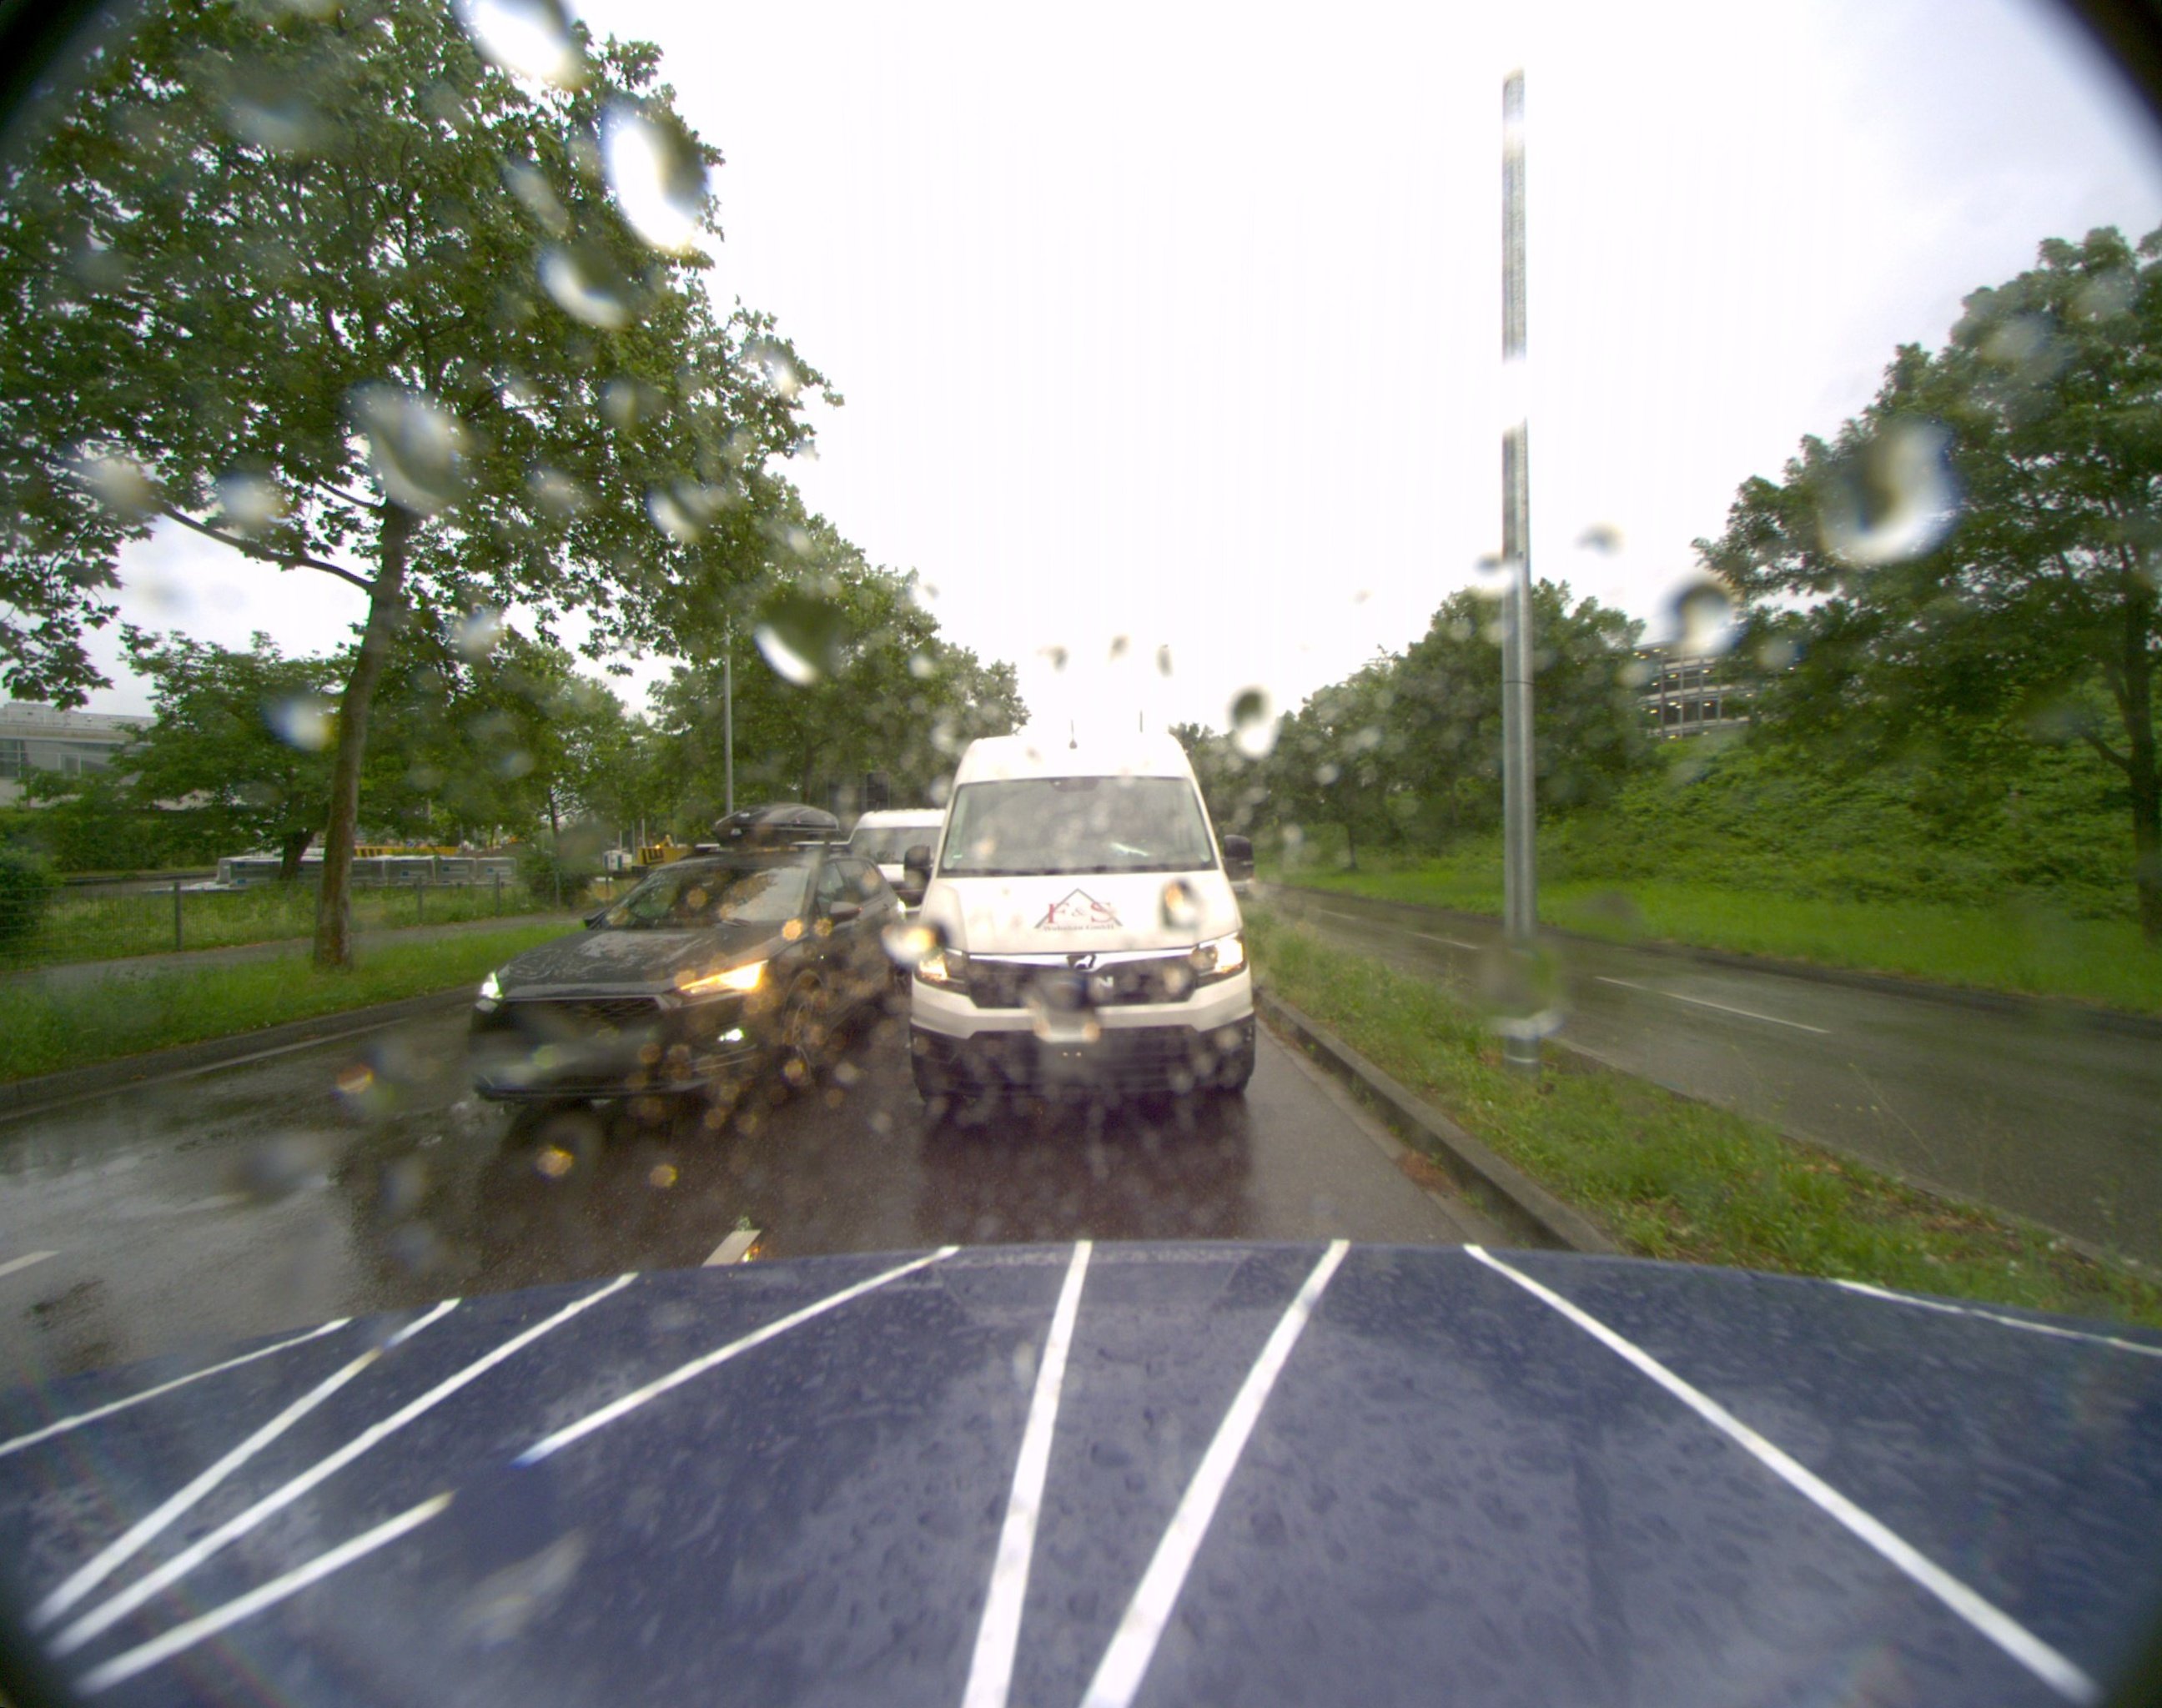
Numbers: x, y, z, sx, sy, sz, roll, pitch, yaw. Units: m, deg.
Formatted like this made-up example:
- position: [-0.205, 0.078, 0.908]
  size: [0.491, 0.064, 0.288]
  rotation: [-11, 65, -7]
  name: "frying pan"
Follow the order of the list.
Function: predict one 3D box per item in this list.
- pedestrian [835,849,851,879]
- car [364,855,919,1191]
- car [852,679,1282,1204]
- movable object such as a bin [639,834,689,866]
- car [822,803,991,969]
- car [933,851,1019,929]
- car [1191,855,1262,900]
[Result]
- position: [-13.491, 0.564, 43.060]
  size: [0.646, 1.707, 0.656]
  rotation: [-2, 1, 1]
  name: "pedestrian"
- position: [-2.746, 0.882, 6.158]
  size: [1.894, 1.688, 4.423]
  rotation: [-1, 0, 0]
  name: "car"
- position: [-0.109, 0.407, 6.512]
  size: [2.027, 2.498, 5.695]
  rotation: [-1, 0, -1]
  name: "car"
- position: [-47.782, -0.469, 87.084]
  size: [4.929, 3.415, 1.920]
  rotation: [-2, 1, 14]
  name: "movable object such as a bin"
- position: [-2.913, 0.459, 13.959]
  size: [1.894, 2.432, 5.317]
  rotation: [-1, 0, -1]
  name: "car"
- position: [-2.787, 0.876, 21.180]
  size: [1.807, 1.902, 4.546]
  rotation: [-1, 0, -1]
  name: "car"
- position: [5.293, 0.823, 28.181]
  size: [1.820, 1.454, 3.999]
  rotation: [2, 1, 0]
  name: "car"
